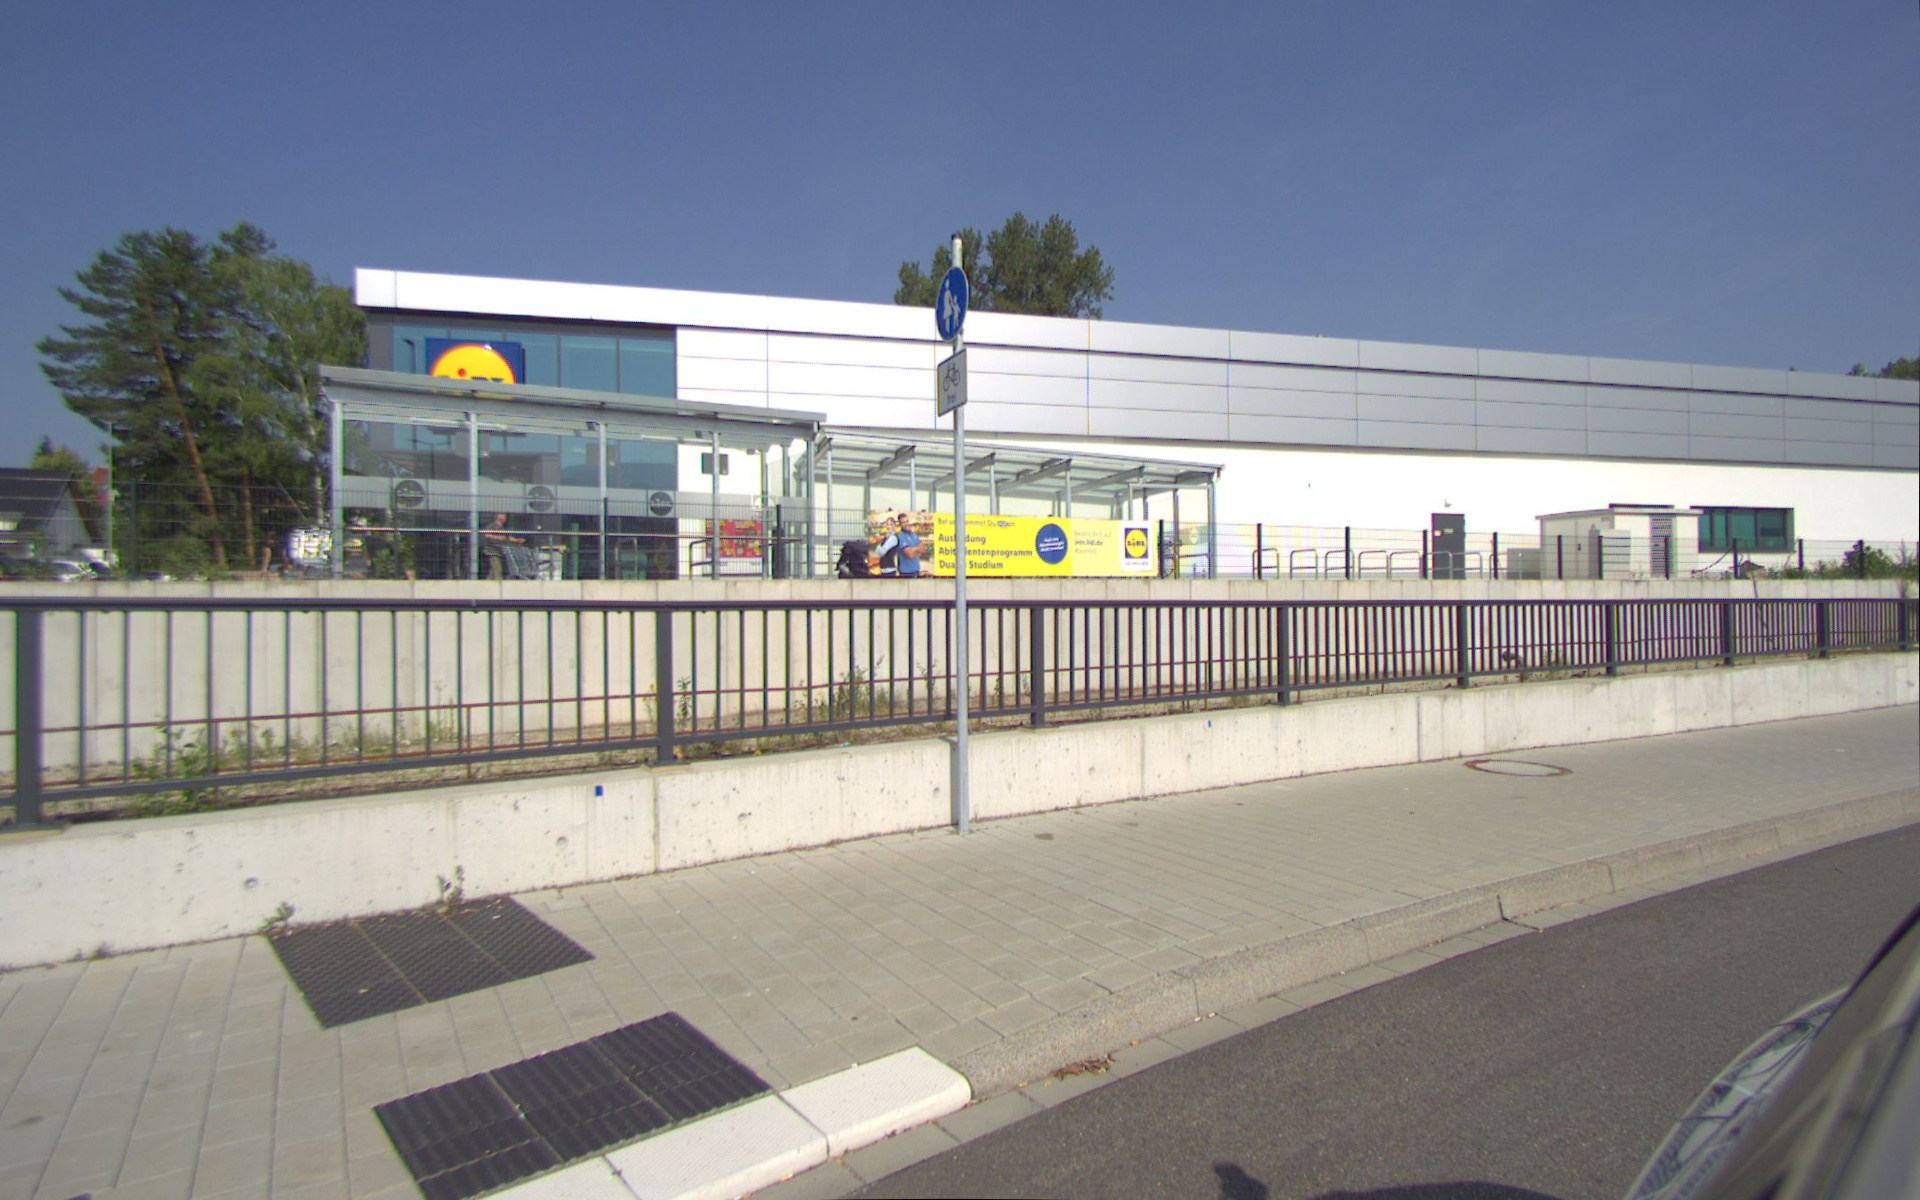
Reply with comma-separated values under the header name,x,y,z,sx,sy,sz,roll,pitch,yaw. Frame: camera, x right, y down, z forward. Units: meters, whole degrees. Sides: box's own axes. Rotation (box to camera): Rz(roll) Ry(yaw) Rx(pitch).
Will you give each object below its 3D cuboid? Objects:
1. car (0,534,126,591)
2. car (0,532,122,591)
name,x,y,z,sx,sy,sz,roll,pitch,yaw
car,-27.494,-1.117,30.448,3.559,1.650,1.603,-1,1,-35
car,-26.062,-1.061,28.476,3.637,1.604,1.624,-1,1,-35
